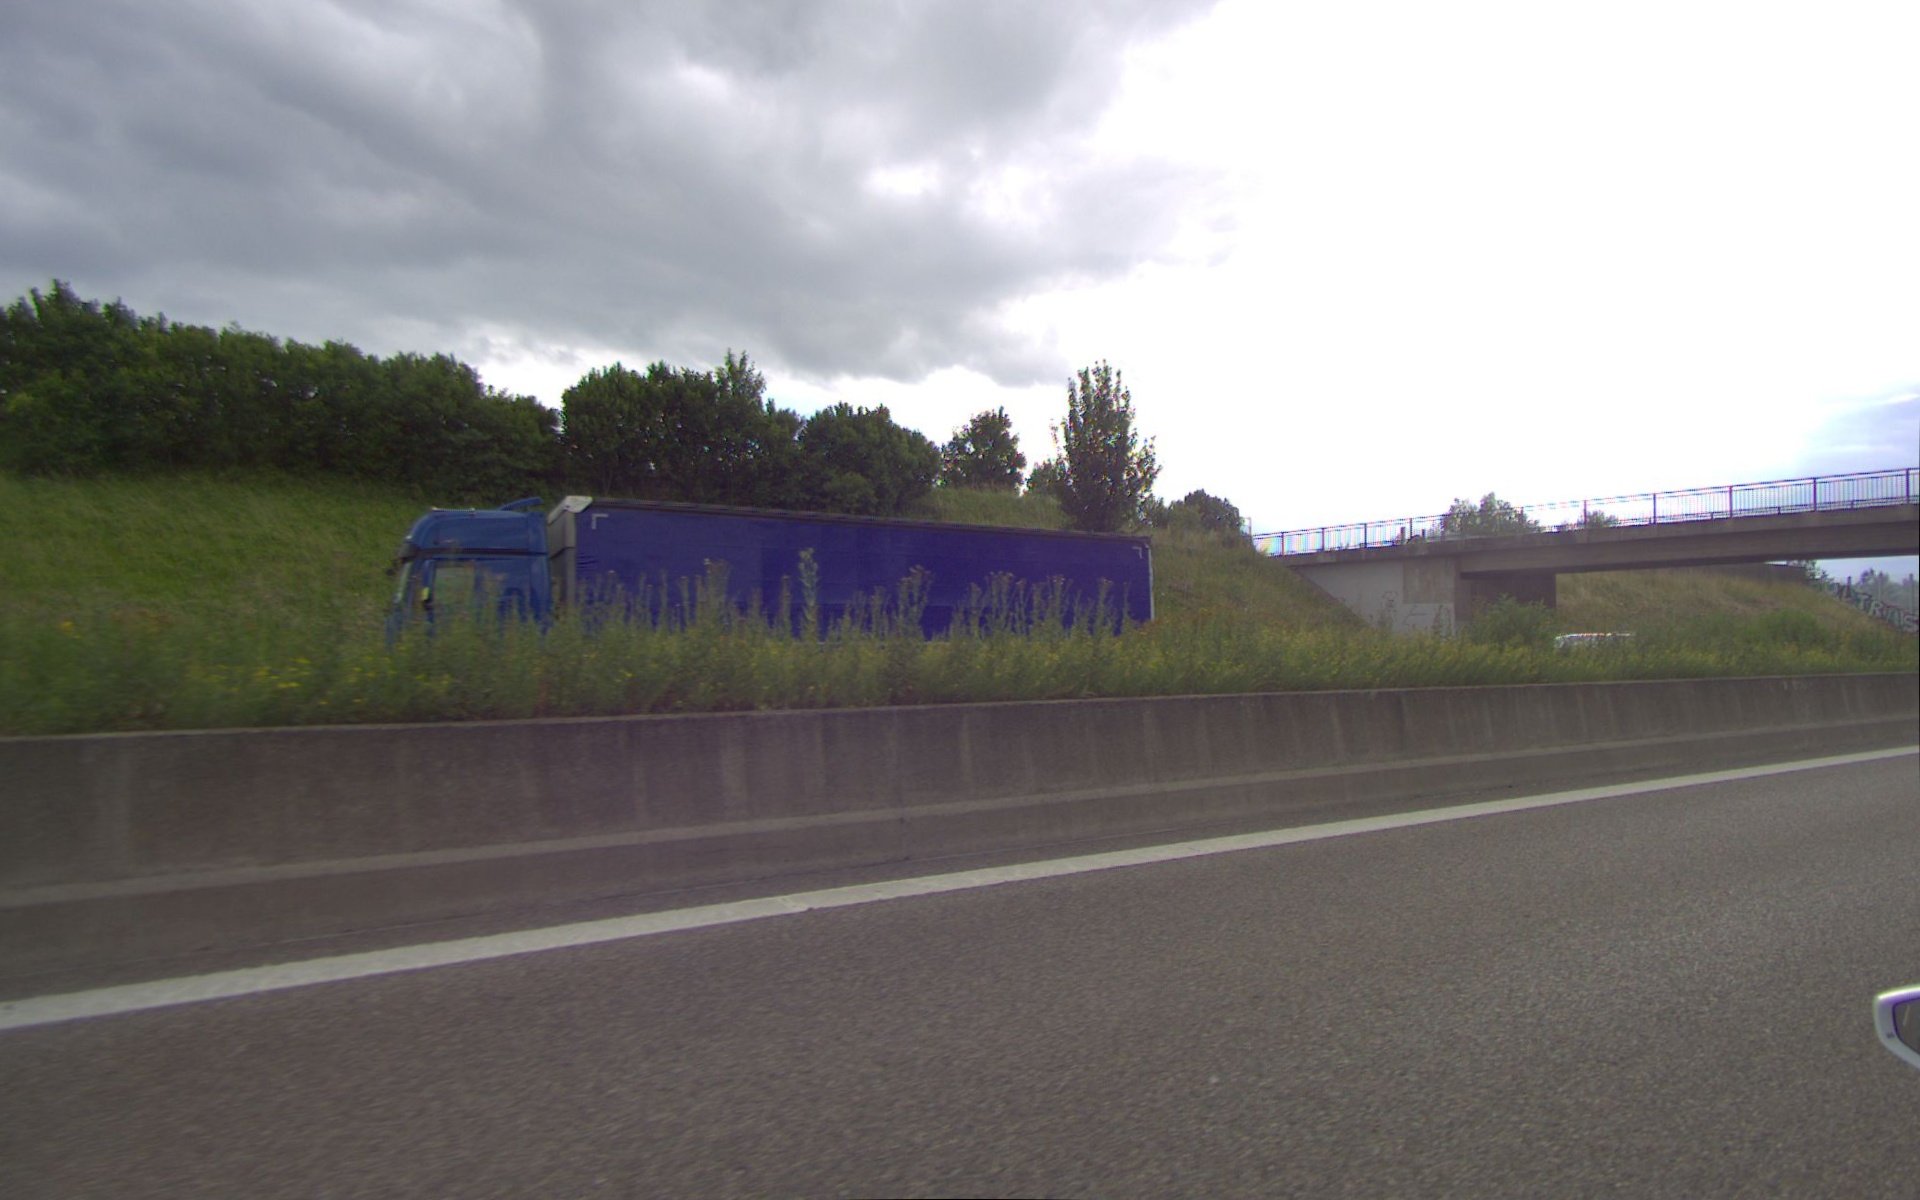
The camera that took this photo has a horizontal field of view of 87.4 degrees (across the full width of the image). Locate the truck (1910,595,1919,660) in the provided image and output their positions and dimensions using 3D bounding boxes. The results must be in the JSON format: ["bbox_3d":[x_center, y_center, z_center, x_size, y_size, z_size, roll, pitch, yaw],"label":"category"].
[{"bbox_3d":[61.355,1.719,60.177,12.856,3.732,2.983,2,-1,-30],"label":"truck"}]

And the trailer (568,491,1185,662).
[{"bbox_3d":[-1.174,-0.262,22.375,13.807,2.995,2.907,2,0,-30],"label":"trailer"}]

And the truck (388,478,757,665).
[{"bbox_3d":[-7.214,-0.405,18.837,6.043,2.985,2.896,1,0,-30],"label":"truck"}]
